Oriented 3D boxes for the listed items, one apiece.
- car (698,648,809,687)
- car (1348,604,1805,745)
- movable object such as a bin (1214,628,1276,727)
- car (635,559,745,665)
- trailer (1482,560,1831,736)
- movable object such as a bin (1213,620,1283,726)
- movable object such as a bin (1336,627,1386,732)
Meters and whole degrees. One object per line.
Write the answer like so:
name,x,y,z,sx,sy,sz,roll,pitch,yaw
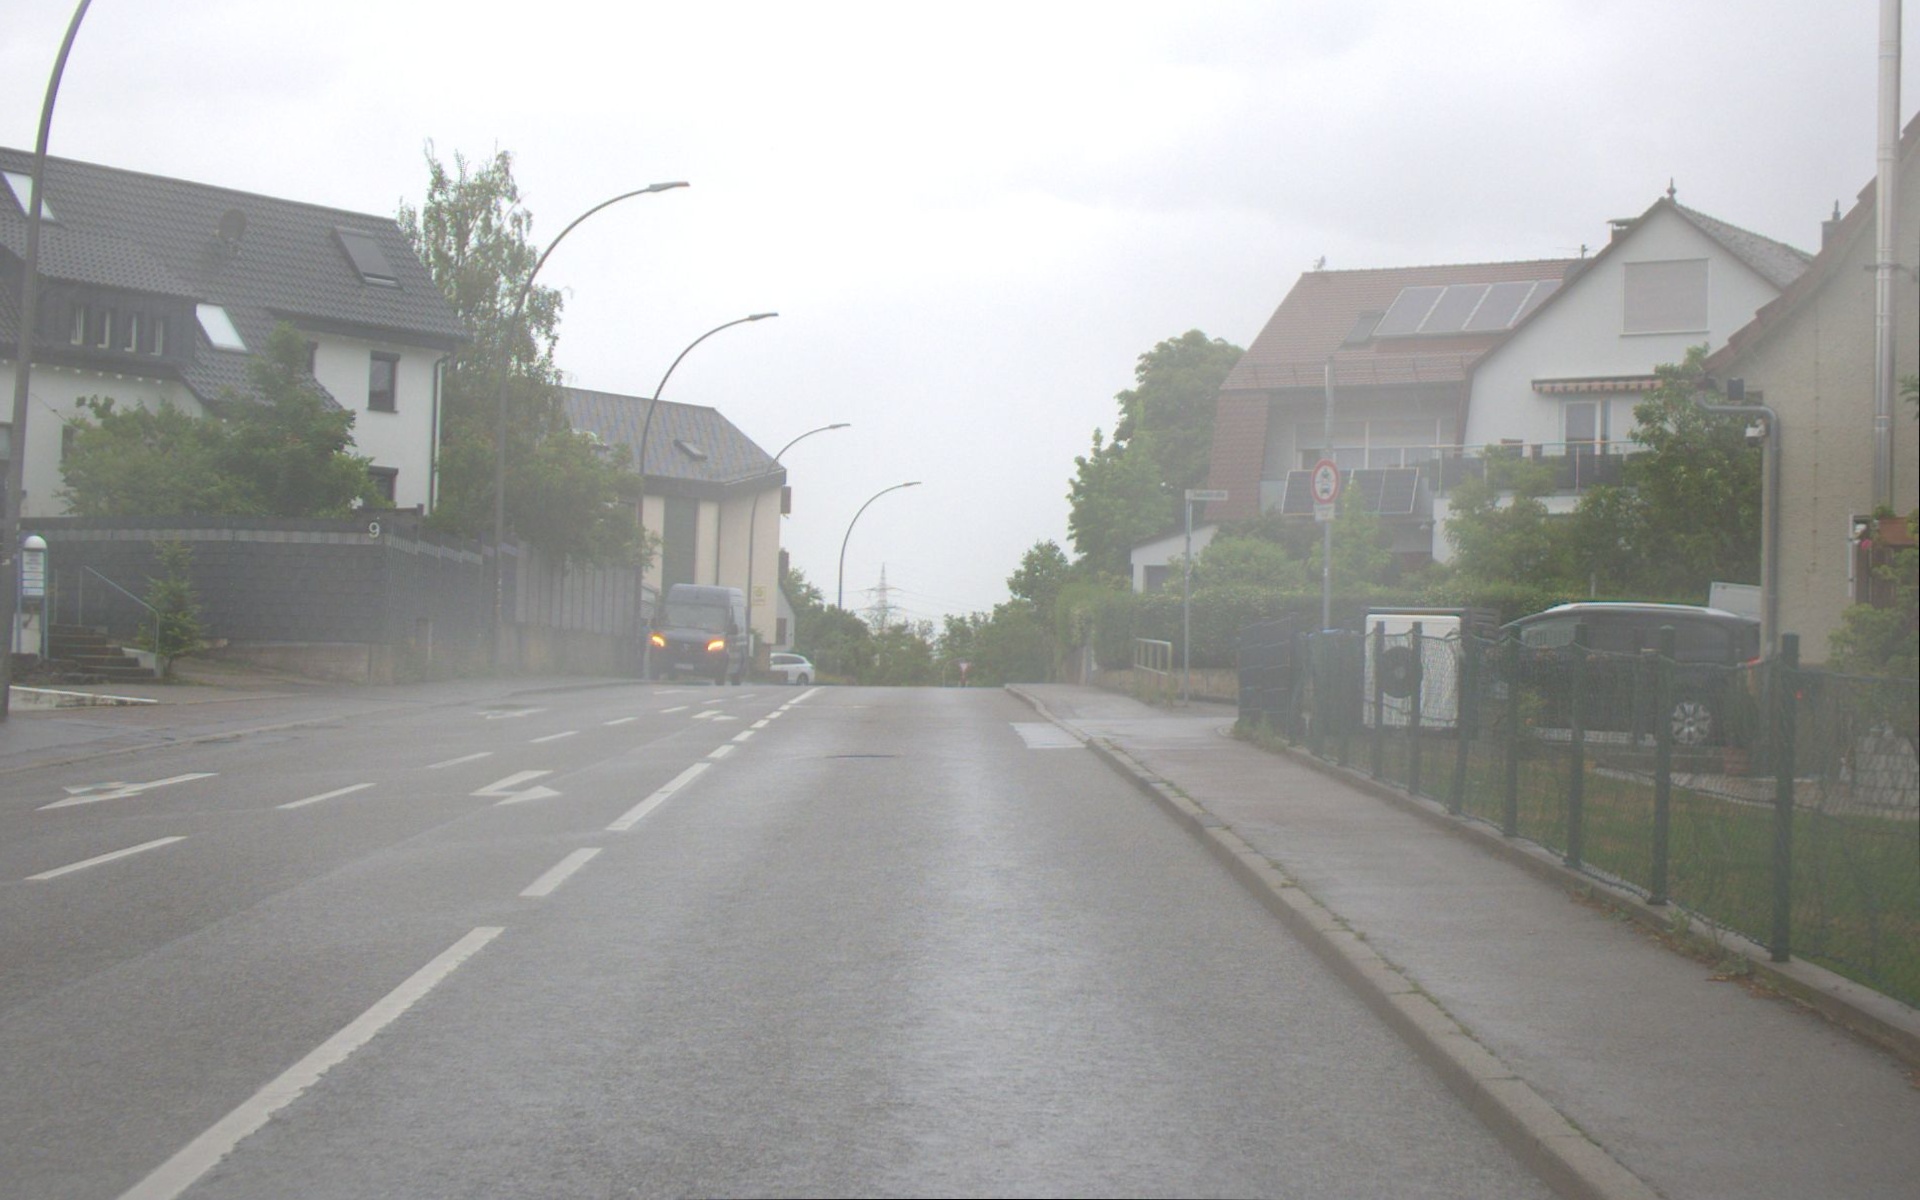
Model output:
car,-8.603,2.820,143.565,1.905,1.472,4.871,2,-1,37
car,6.578,0.771,36.581,4.561,1.379,1.998,0,1,17
movable object such as a bin,2.959,0.804,35.718,0.627,1.018,0.540,0,0,5
car,-7.160,0.370,91.633,2.094,2.640,5.917,3,-1,3
trailer,8.003,0.544,39.591,3.459,1.792,1.684,3,-1,38
movable object such as a bin,2.832,0.713,33.774,0.530,1.018,0.732,0,0,19
movable object such as a bin,3.954,0.782,33.913,0.443,1.018,0.524,0,0,11
